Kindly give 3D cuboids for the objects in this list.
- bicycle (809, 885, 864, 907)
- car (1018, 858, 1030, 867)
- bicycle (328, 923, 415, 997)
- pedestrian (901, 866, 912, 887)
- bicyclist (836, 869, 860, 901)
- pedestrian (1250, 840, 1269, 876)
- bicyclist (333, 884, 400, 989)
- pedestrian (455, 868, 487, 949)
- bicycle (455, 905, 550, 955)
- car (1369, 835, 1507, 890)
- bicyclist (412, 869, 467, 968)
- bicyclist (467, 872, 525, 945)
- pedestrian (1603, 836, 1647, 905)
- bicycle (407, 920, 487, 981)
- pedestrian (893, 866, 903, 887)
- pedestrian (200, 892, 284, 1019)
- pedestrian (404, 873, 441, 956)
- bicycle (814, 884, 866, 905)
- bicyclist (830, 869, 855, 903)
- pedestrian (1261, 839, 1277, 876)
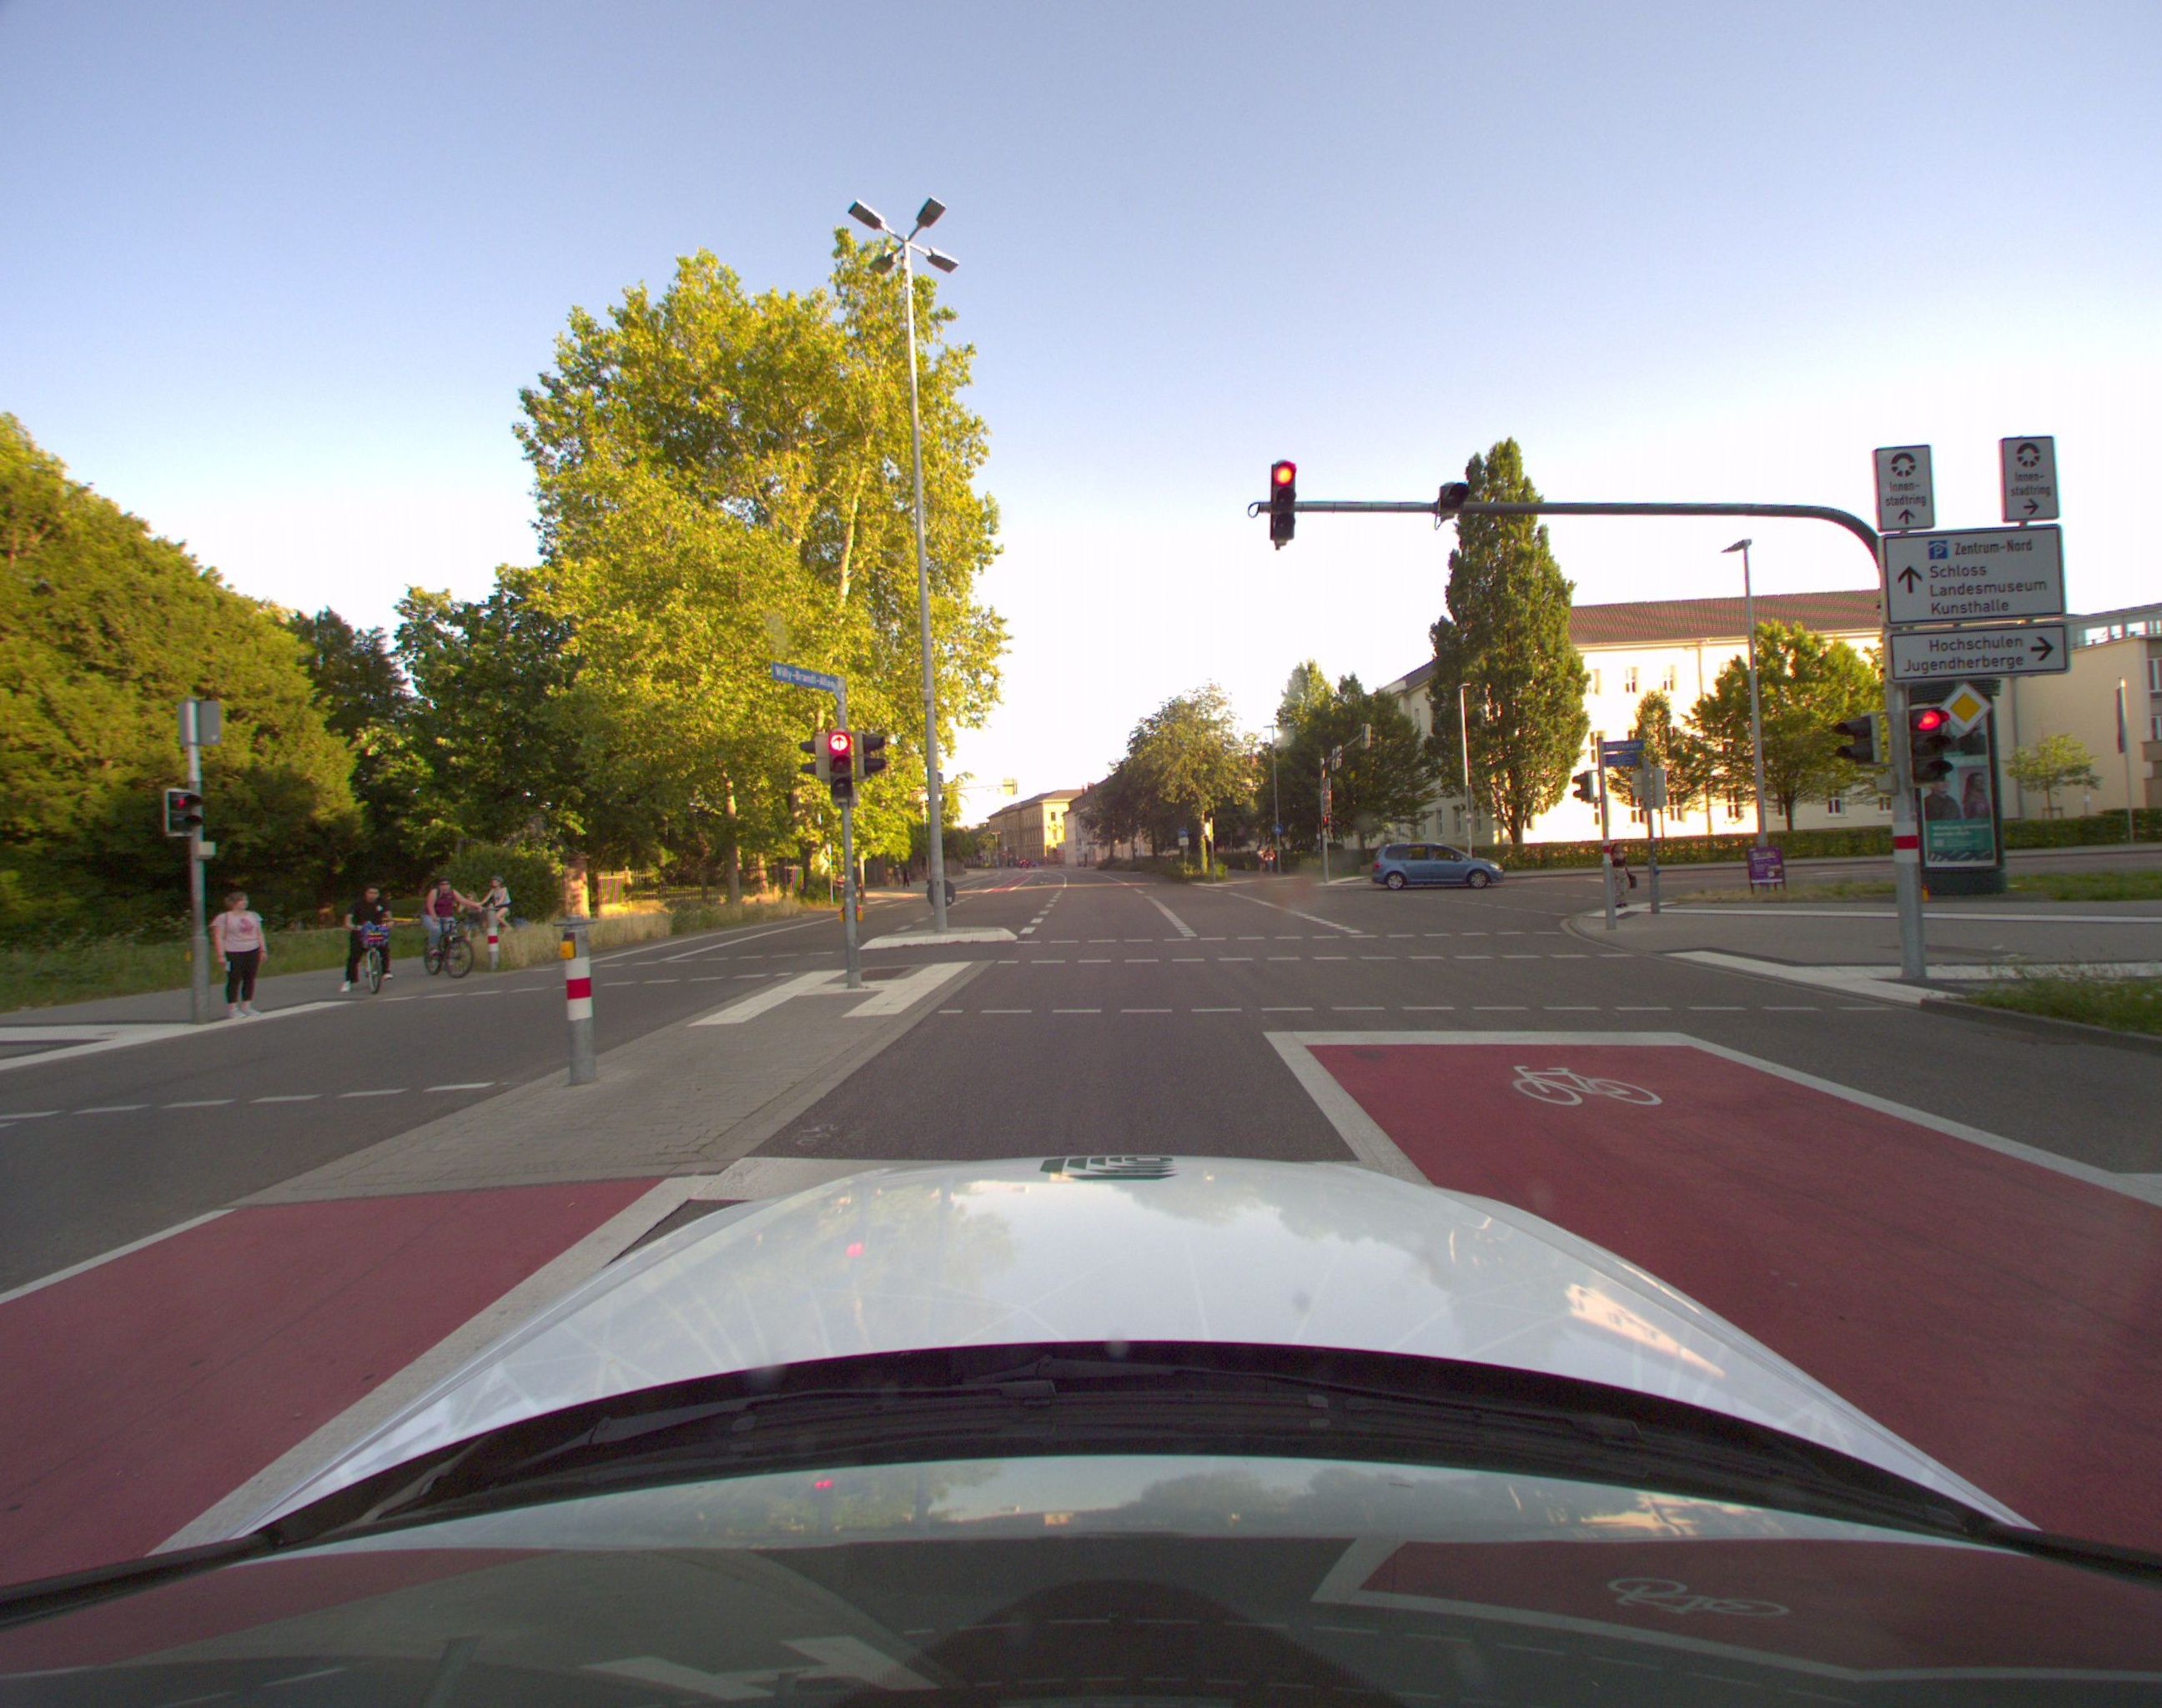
[{"bbox_3d":[-12.211,2.092,40.709,2.420,0.924,0.775,-3,0,2],"label":"bicycle"},{"bbox_3d":[-11.992,1.758,170.233,1.821,1.588,3.983,-4,0,-12],"label":"car"},{"bbox_3d":[-11.769,1.727,13.495,1.548,1.111,0.637,-3,-1,32],"label":"bicycle"},{"bbox_3d":[-13.025,1.668,60.780,0.597,1.573,0.646,-3,0,1],"label":"pedestrian"},{"bbox_3d":[-12.160,1.606,42.493,0.954,1.631,0.753,-3,0,2],"label":"bicyclist"},{"bbox_3d":[10.272,0.213,46.876,0.867,2.014,0.723,-2,-1,1],"label":"pedestrian"},{"bbox_3d":[-11.918,1.358,13.589,0.631,1.649,0.634,-3,-1,32],"label":"bicyclist"},{"bbox_3d":[-15.659,1.381,20.904,0.598,2.014,0.634,-1,-1,-38],"label":"pedestrian"},{"bbox_3d":[-14.504,1.871,20.514,0.737,1.033,2.297,-2,0,0],"label":"bicycle"},{"bbox_3d":[12.494,0.297,28.742,4.244,1.720,1.866,-2,2,21],"label":"car"},{"bbox_3d":[-11.976,1.184,15.211,0.631,1.780,0.580,-3,-1,32],"label":"bicyclist"},{"bbox_3d":[-14.550,1.332,20.283,0.753,1.728,0.943,-2,-1,-3],"label":"bicyclist"},{"bbox_3d":[13.120,0.392,19.660,0.597,1.636,0.692,-2,0,5],"label":"pedestrian"},{"bbox_3d":[-11.763,1.760,15.105,1.749,1.030,0.583,-3,0,32],"label":"bicycle"},{"bbox_3d":[-13.651,1.678,60.894,0.533,1.596,0.591,-3,0,1],"label":"pedestrian"},{"bbox_3d":[-11.767,1.401,11.432,0.604,1.695,0.499,-3,0,3],"label":"pedestrian"},{"bbox_3d":[-16.385,1.482,20.276,0.654,2.014,0.599,-1,-1,-37],"label":"pedestrian"},{"bbox_3d":[-12.554,2.115,42.489,2.420,0.924,0.775,-3,0,2],"label":"bicycle"},{"bbox_3d":[-11.924,1.589,40.706,0.954,1.631,0.753,-3,0,2],"label":"bicyclist"},{"bbox_3d":[10.535,0.193,45.640,0.633,2.014,0.720,-2,-1,-2],"label":"pedestrian"}]
